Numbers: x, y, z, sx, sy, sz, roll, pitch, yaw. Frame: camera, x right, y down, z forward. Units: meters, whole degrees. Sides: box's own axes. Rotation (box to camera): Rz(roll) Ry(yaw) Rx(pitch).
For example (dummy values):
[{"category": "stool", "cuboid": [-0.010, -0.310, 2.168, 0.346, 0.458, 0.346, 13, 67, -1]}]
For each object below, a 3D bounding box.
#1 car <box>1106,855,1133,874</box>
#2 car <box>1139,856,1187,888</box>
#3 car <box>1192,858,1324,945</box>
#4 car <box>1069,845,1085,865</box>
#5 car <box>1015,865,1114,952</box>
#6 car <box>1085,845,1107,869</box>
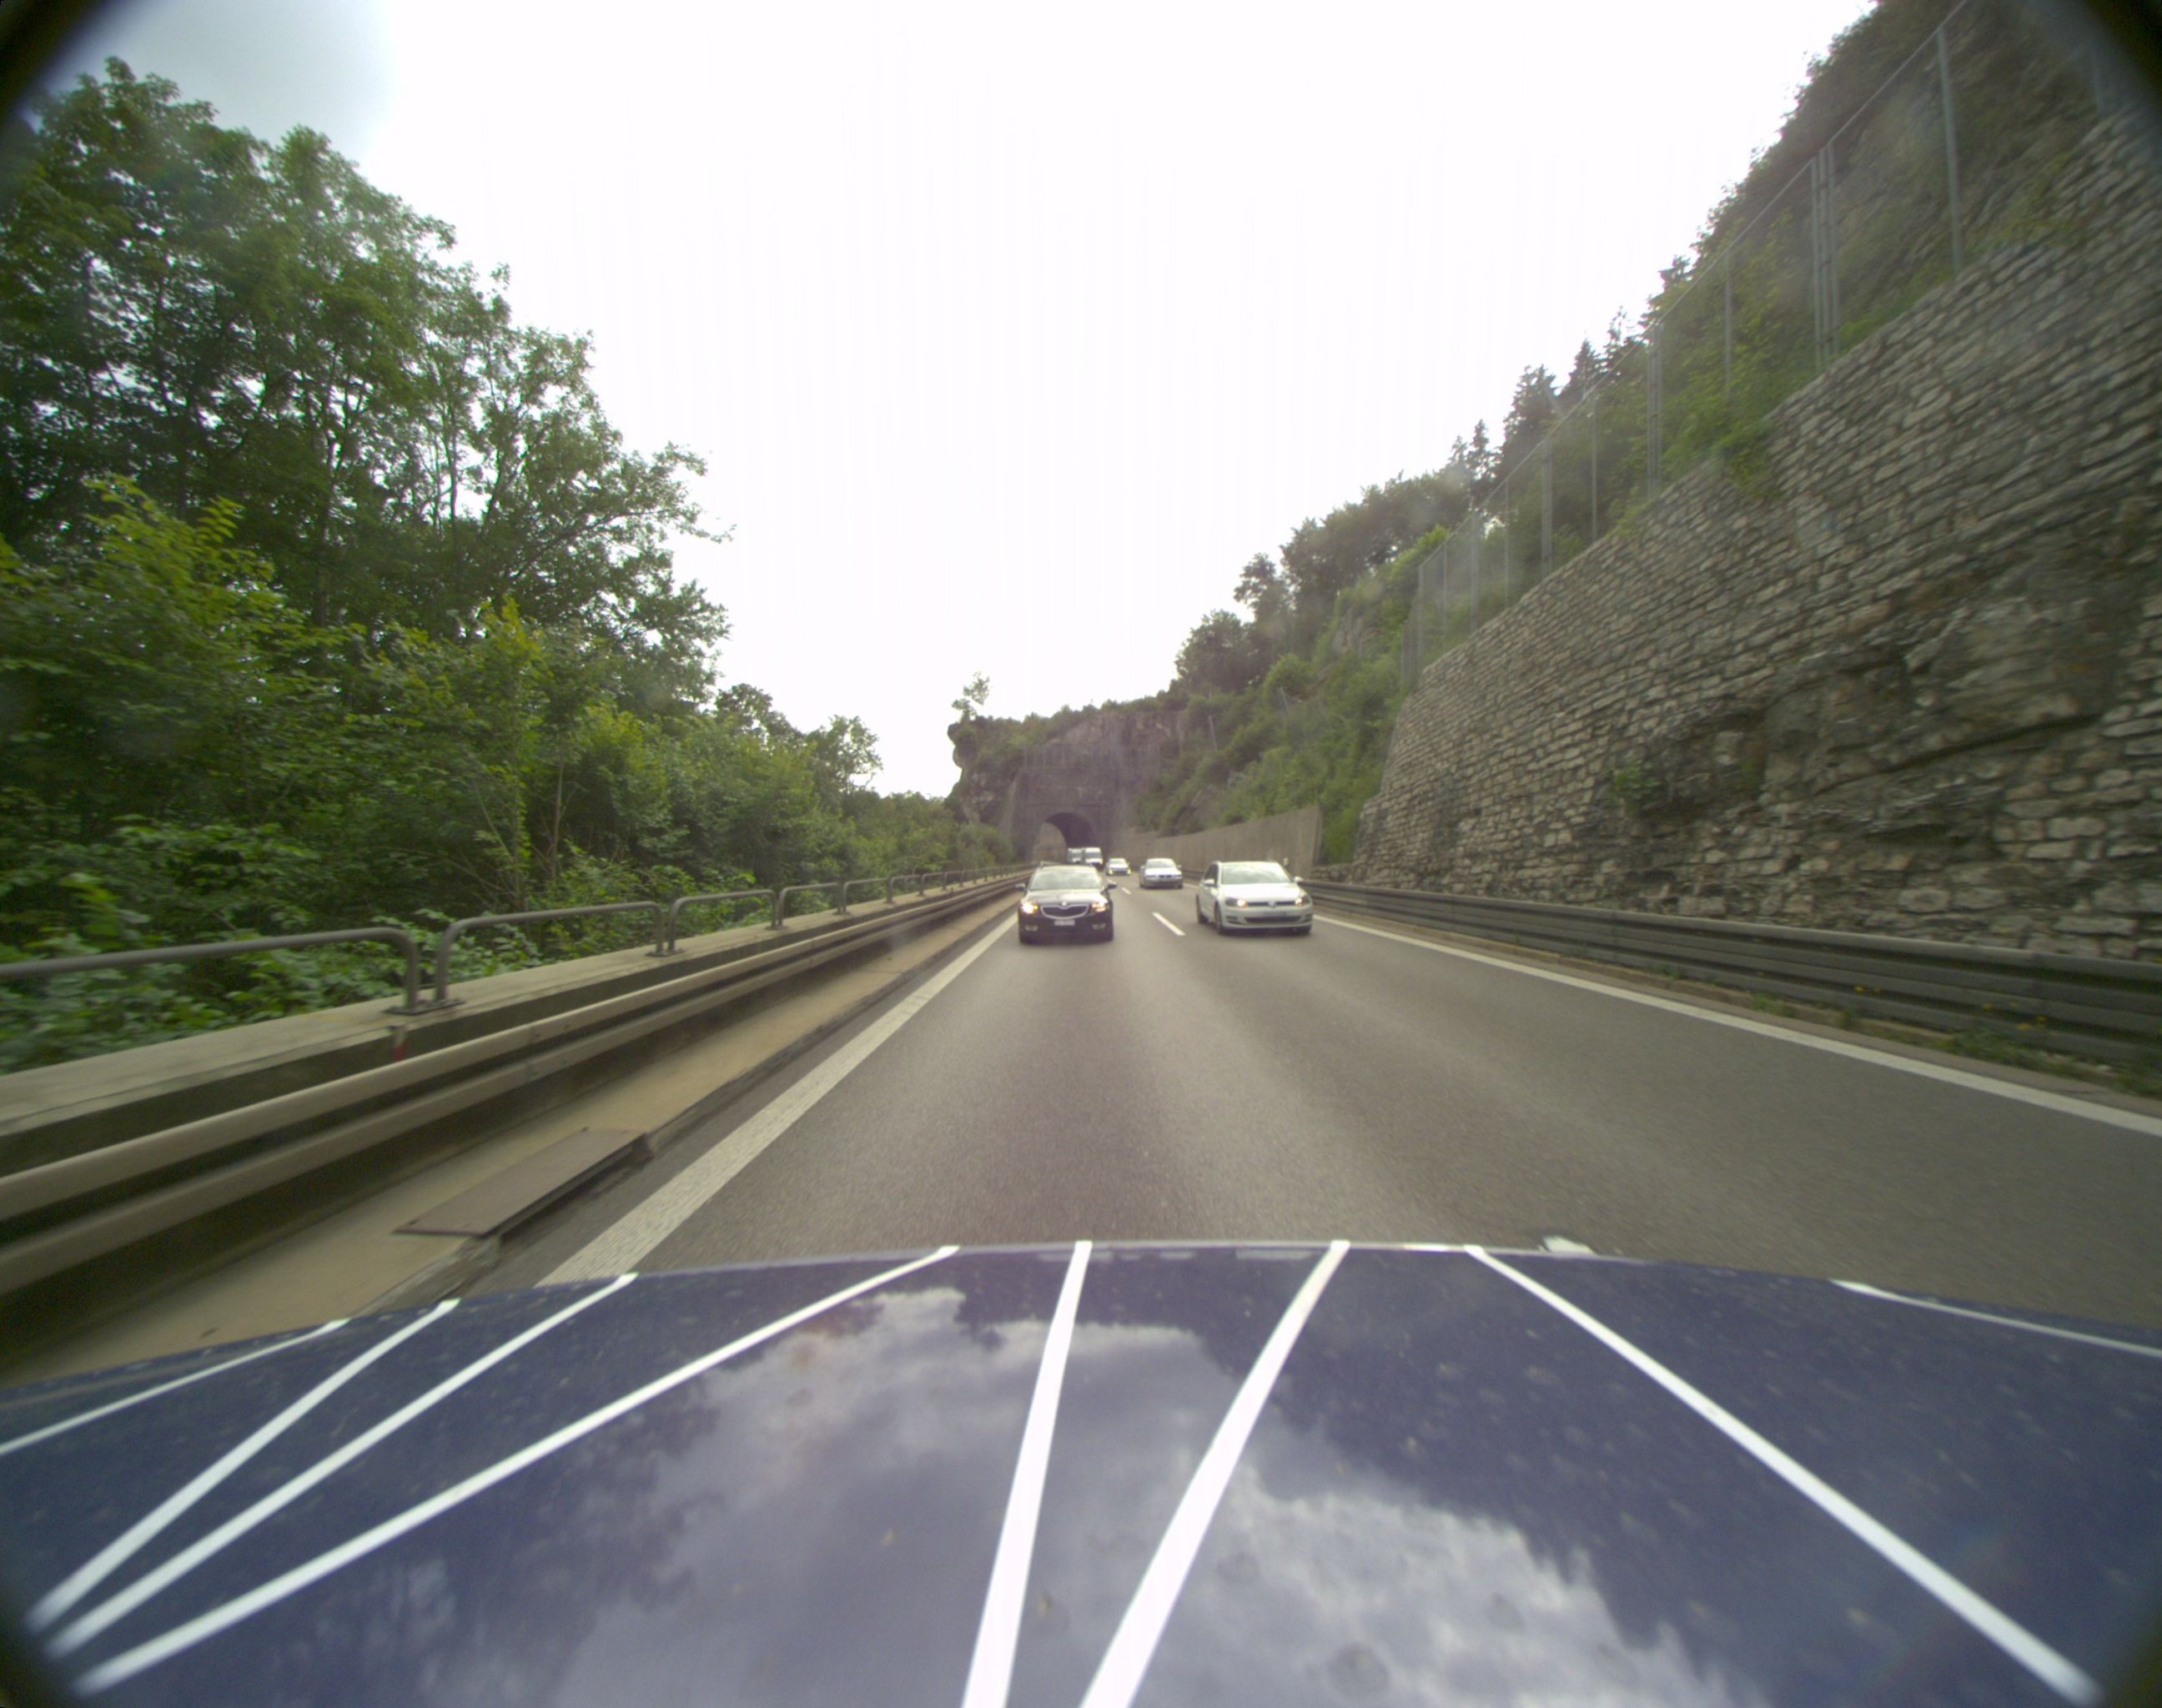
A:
[{"category": "car", "cuboid": [3.252, 0.877, 65.472, 1.923, 1.452, 4.230, -2, 0, -2]}, {"category": "car", "cuboid": [3.972, 0.847, 37.743, 1.832, 1.448, 5.135, -2, 0, 1]}, {"category": "car", "cuboid": [3.526, 0.870, 16.013, 1.849, 1.473, 4.628, -1, 1, 2]}, {"category": "car", "cuboid": [-0.524, 0.068, 102.791, 1.868, 2.444, 4.982, -2, 2, 1]}, {"category": "car", "cuboid": [-0.255, 0.981, 15.573, 1.677, 1.418, 4.473, -2, 0, 1]}, {"category": "car", "cuboid": [1.605, 0.259, 84.024, 1.869, 2.444, 4.980, -3, 2, -5]}]
